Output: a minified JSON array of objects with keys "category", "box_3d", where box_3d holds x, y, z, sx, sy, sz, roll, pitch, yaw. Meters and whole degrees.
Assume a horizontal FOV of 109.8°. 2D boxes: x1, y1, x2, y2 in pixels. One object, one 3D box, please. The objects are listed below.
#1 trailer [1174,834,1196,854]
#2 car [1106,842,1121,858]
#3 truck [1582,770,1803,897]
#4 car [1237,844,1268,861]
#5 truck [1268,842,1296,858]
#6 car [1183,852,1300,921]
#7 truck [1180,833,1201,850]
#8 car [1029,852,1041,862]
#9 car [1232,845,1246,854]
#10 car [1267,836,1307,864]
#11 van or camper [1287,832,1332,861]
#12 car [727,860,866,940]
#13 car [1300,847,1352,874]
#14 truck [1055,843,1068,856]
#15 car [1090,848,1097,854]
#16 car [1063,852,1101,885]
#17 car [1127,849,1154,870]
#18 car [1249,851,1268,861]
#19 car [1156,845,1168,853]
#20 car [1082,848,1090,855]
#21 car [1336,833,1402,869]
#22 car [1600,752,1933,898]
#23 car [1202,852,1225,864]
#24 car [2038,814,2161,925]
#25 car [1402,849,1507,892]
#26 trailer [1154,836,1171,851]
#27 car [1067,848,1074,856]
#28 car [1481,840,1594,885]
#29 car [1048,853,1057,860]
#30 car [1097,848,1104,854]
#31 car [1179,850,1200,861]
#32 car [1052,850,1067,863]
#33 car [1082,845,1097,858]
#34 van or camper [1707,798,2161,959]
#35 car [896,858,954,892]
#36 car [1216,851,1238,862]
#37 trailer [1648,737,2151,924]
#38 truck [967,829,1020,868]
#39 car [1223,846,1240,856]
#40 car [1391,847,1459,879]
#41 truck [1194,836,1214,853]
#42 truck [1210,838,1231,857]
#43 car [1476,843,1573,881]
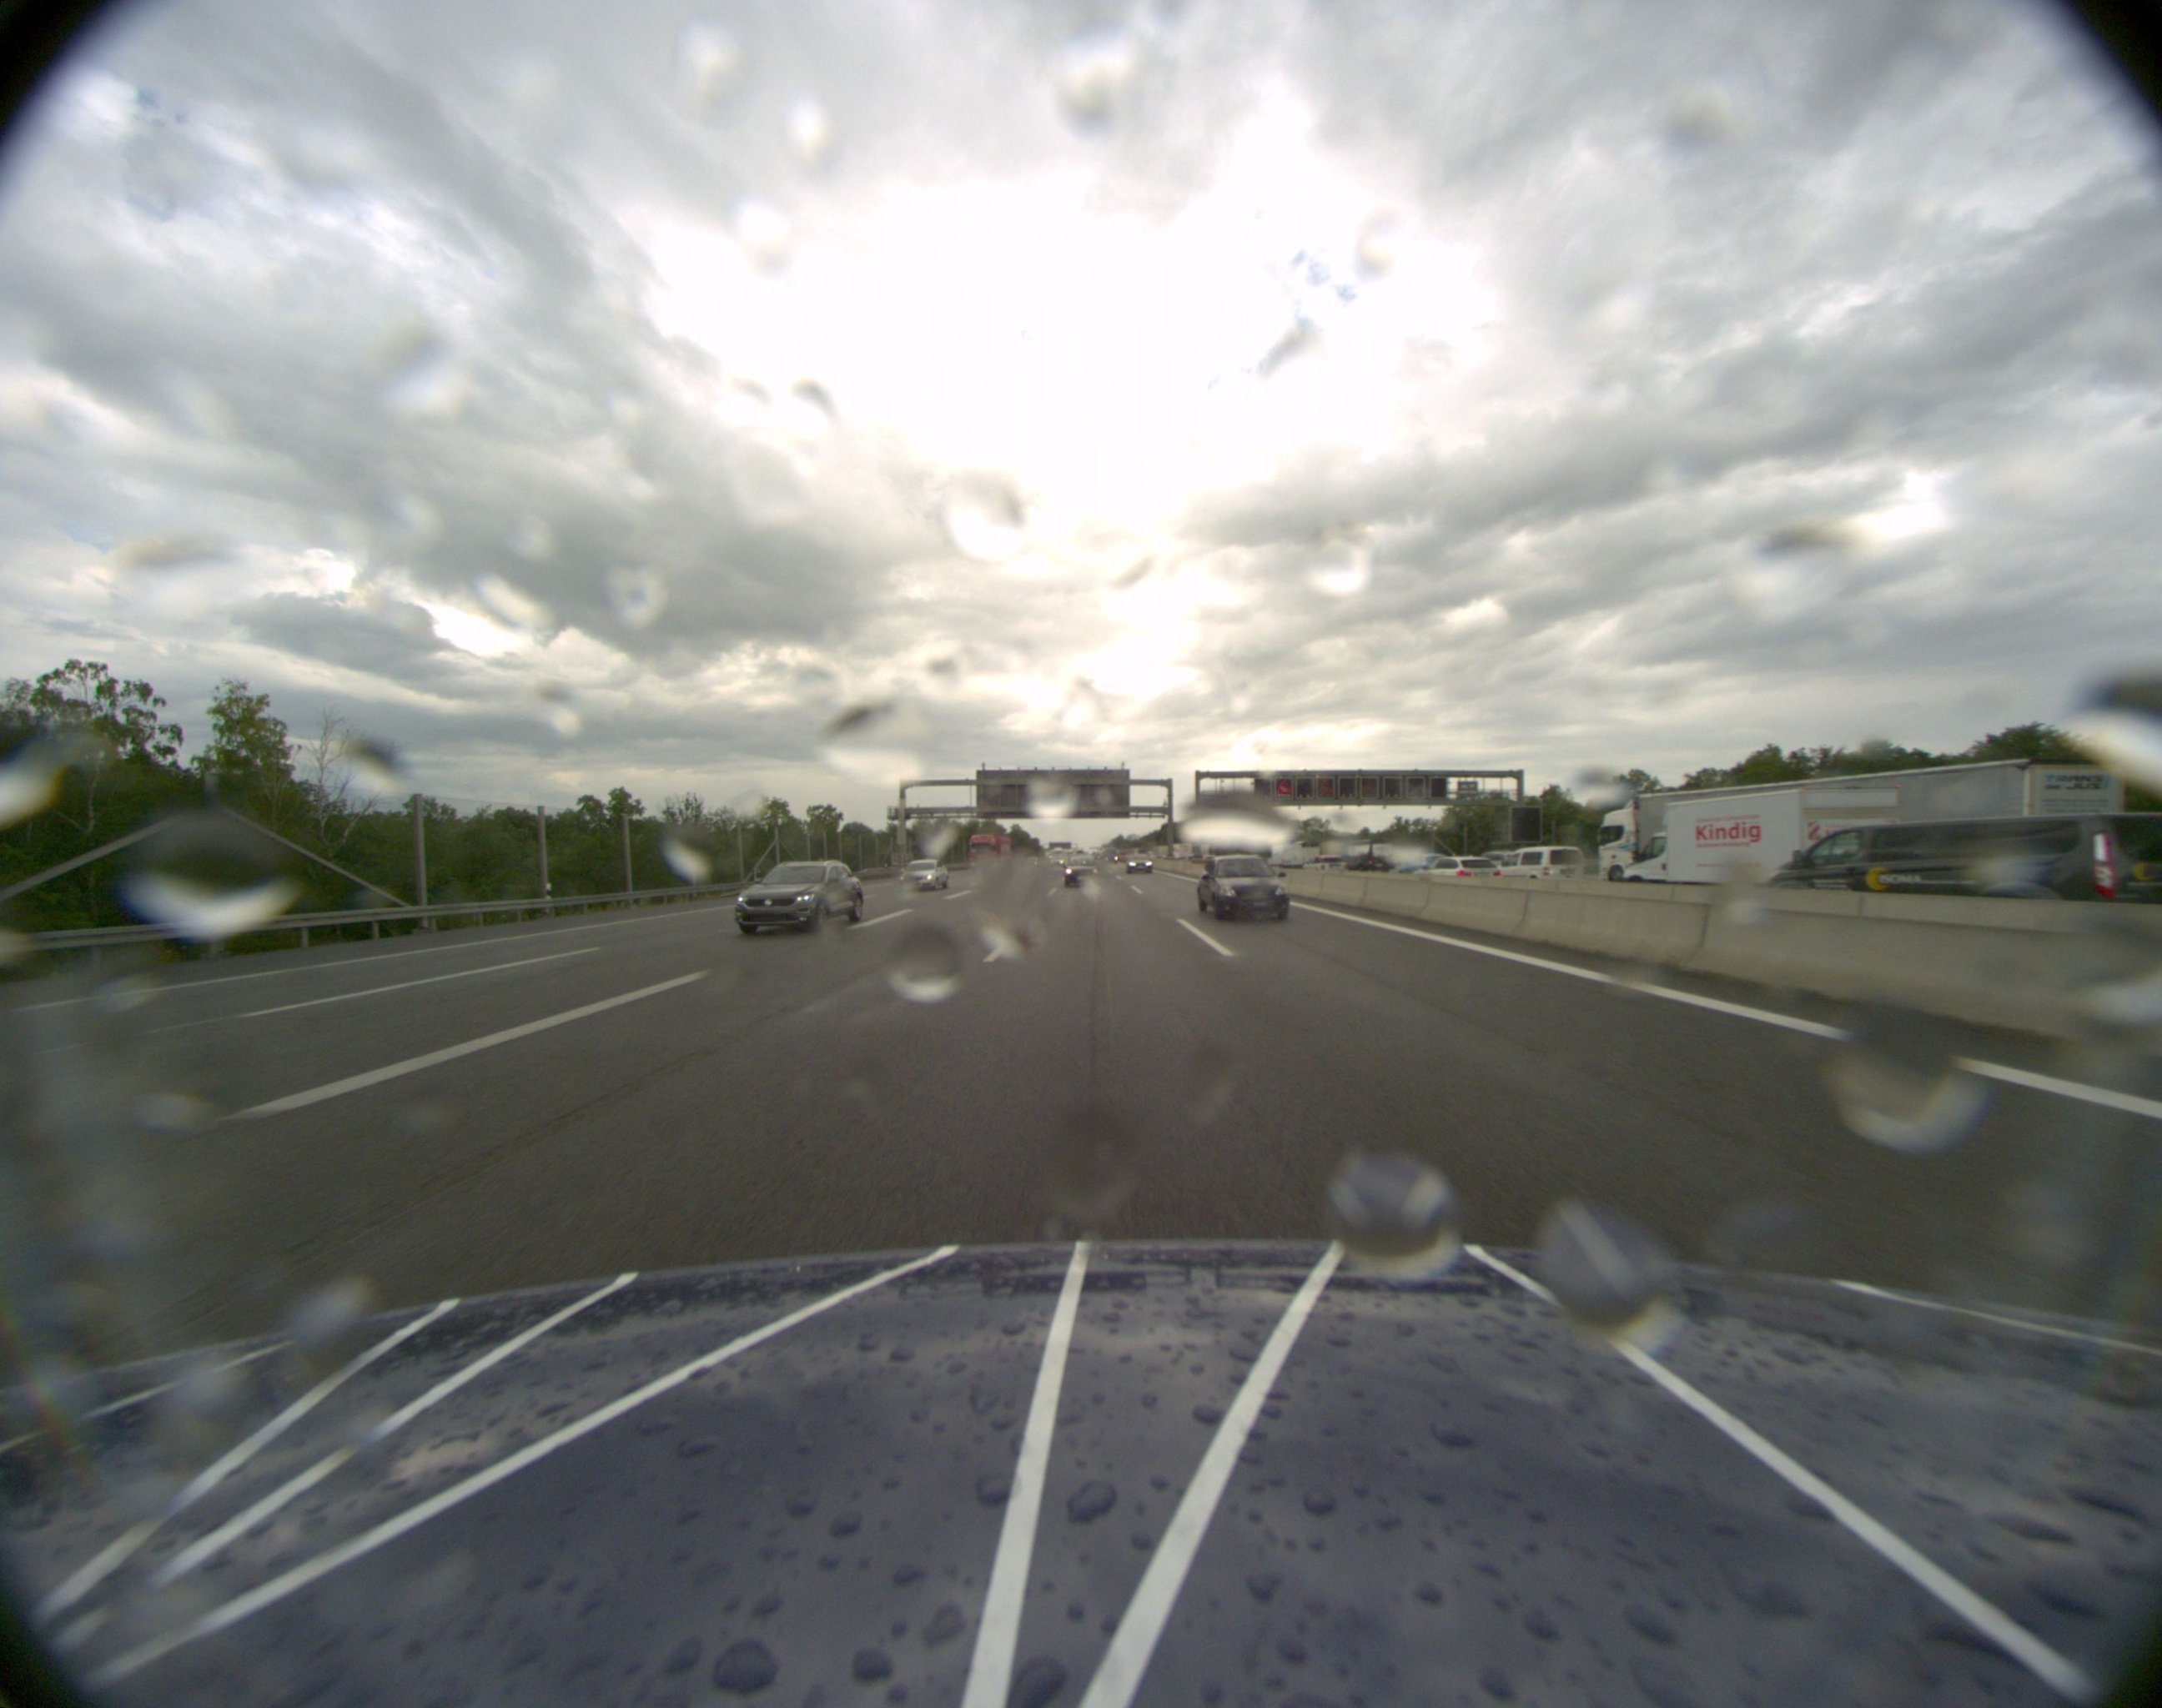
[{"category":"trailer","box_3d":[22.973,-2.206,169.213,3.195,4.169,11.955,-1,0,0]},{"category":"car","box_3d":[5.219,-0.647,122.663,1.999,2.354,4.171,-2,1,-1]},{"category":"truck","box_3d":[26.431,-0.815,33.558,3.155,4.828,8.025,-2,1,-1]},{"category":"car","box_3d":[15.398,-0.138,68.351,1.763,1.429,4.393,-2,0,0]},{"category":"truck","box_3d":[22.577,-0.434,85.592,1.999,1.736,3.999,-1,0,0]},{"category":"car","box_3d":[3.695,0.670,18.422,1.781,1.399,5.016,-2,0,0]},{"category":"truck","box_3d":[28.491,-3.141,197.927,2.655,3.997,17.745,-1,0,0]},{"category":"car","box_3d":[-7.340,0.514,121.508,1.820,1.534,4.356,-2,0,-2]},{"category":"car","box_3d":[26.987,-0.738,129.722,1.587,1.418,4.003,-1,0,0]},{"category":"car","box_3d":[19.449,-0.372,72.029,2.208,2.474,6.065,-1,0,0]},{"category":"van or camper","box_3d":[23.144,-0.762,77.272,2.590,2.830,6.212,-1,0,-1]},{"category":"car","box_3d":[-6.484,0.983,17.786,1.797,1.553,3.721,-2,1,0]},{"category":"car","box_3d":[14.690,0.334,45.833,1.762,1.489,4.393,-2,0,1]},{"category":"truck","box_3d":[-6.435,-1.557,248.982,3.256,3.884,12.308,-2,1,-4]},{"category":"car","box_3d":[4.281,-1.004,254.451,1.999,1.635,3.999,-2,0,-2]},{"category":"car","box_3d":[0.100,0.684,37.342,1.668,1.432,4.405,-2,1,2]},{"category":"car","box_3d":[4.543,0.376,58.511,1.751,1.489,4.014,-2,1,1]},{"category":"car","box_3d":[27.191,0.309,116.554,1.766,1.418,4.341,-1,0,0]},{"category":"car","box_3d":[16.097,-1.017,151.786,1.877,1.638,4.721,-1,0,0]},{"category":"car","box_3d":[1.295,-0.769,214.432,1.999,2.002,3.506,-2,1,-2]},{"category":"car","box_3d":[22.267,-0.258,59.132,2.277,2.531,7.357,-2,0,0]},{"category":"car","box_3d":[18.447,-0.696,21.361,2.504,3.281,7.626,-2,1,1]},{"category":"car","box_3d":[15.594,0.473,89.622,1.707,1.383,4.504,-1,0,-1]},{"category":"car","box_3d":[18.575,0.235,11.189,1.863,1.813,5.664,-2,1,1]},{"category":"car","box_3d":[14.229,0.561,29.262,1.646,1.484,4.933,-2,0,1]},{"category":"trailer","box_3d":[22.799,-2.965,213.519,3.252,3.911,13.014,-2,1,0]},{"category":"car","box_3d":[-3.308,-0.645,229.490,2.037,2.587,4.512,-1,1,-2]},{"category":"car","box_3d":[18.292,0.297,30.745,1.716,1.657,4.795,-2,0,1]},{"category":"car","box_3d":[-5.790,0.542,156.443,1.782,1.438,4.586,-2,0,-2]},{"category":"car","box_3d":[5.602,-0.895,219.549,1.998,1.790,4.898,-2,1,1]},{"category":"car","box_3d":[14.790,0.188,103.992,2.084,1.349,5.256,-1,0,0]},{"category":"car","box_3d":[-2.980,0.318,106.690,1.962,1.831,3.999,-1,1,-1]},{"category":"car","box_3d":[1.217,-0.340,112.011,2.134,1.831,3.999,-1,1,0]},{"category":"van or camper","box_3d":[14.059,0.256,12.687,1.998,2.002,6.346,-2,0,1]},{"category":"car","box_3d":[-7.611,0.982,37.492,1.898,1.438,4.245,-2,0,0]},{"category":"car","box_3d":[18.814,0.305,97.896,1.803,1.349,5.128,-1,0,0]},{"category":"trailer","box_3d":[26.462,-0.658,26.597,3.155,4.828,13.292,-2,0,-1]},{"category":"truck","box_3d":[-9.609,-0.618,85.736,3.159,3.980,15.639,-2,0,3]},{"category":"car","box_3d":[22.245,-0.492,112.243,1.625,1.439,4.416,-1,0,0]},{"category":"car","box_3d":[18.685,0.445,41.491,1.806,1.612,4.280,-2,0,1]},{"category":"truck","box_3d":[27.814,-2.125,171.950,2.906,3.818,10.756,-1,0,1]},{"category":"truck","box_3d":[26.562,-1.279,144.987,2.470,3.516,7.806,-1,0,0]},{"category":"car","box_3d":[21.825,0.348,37.657,1.716,1.657,5.316,-2,0,1]}]
